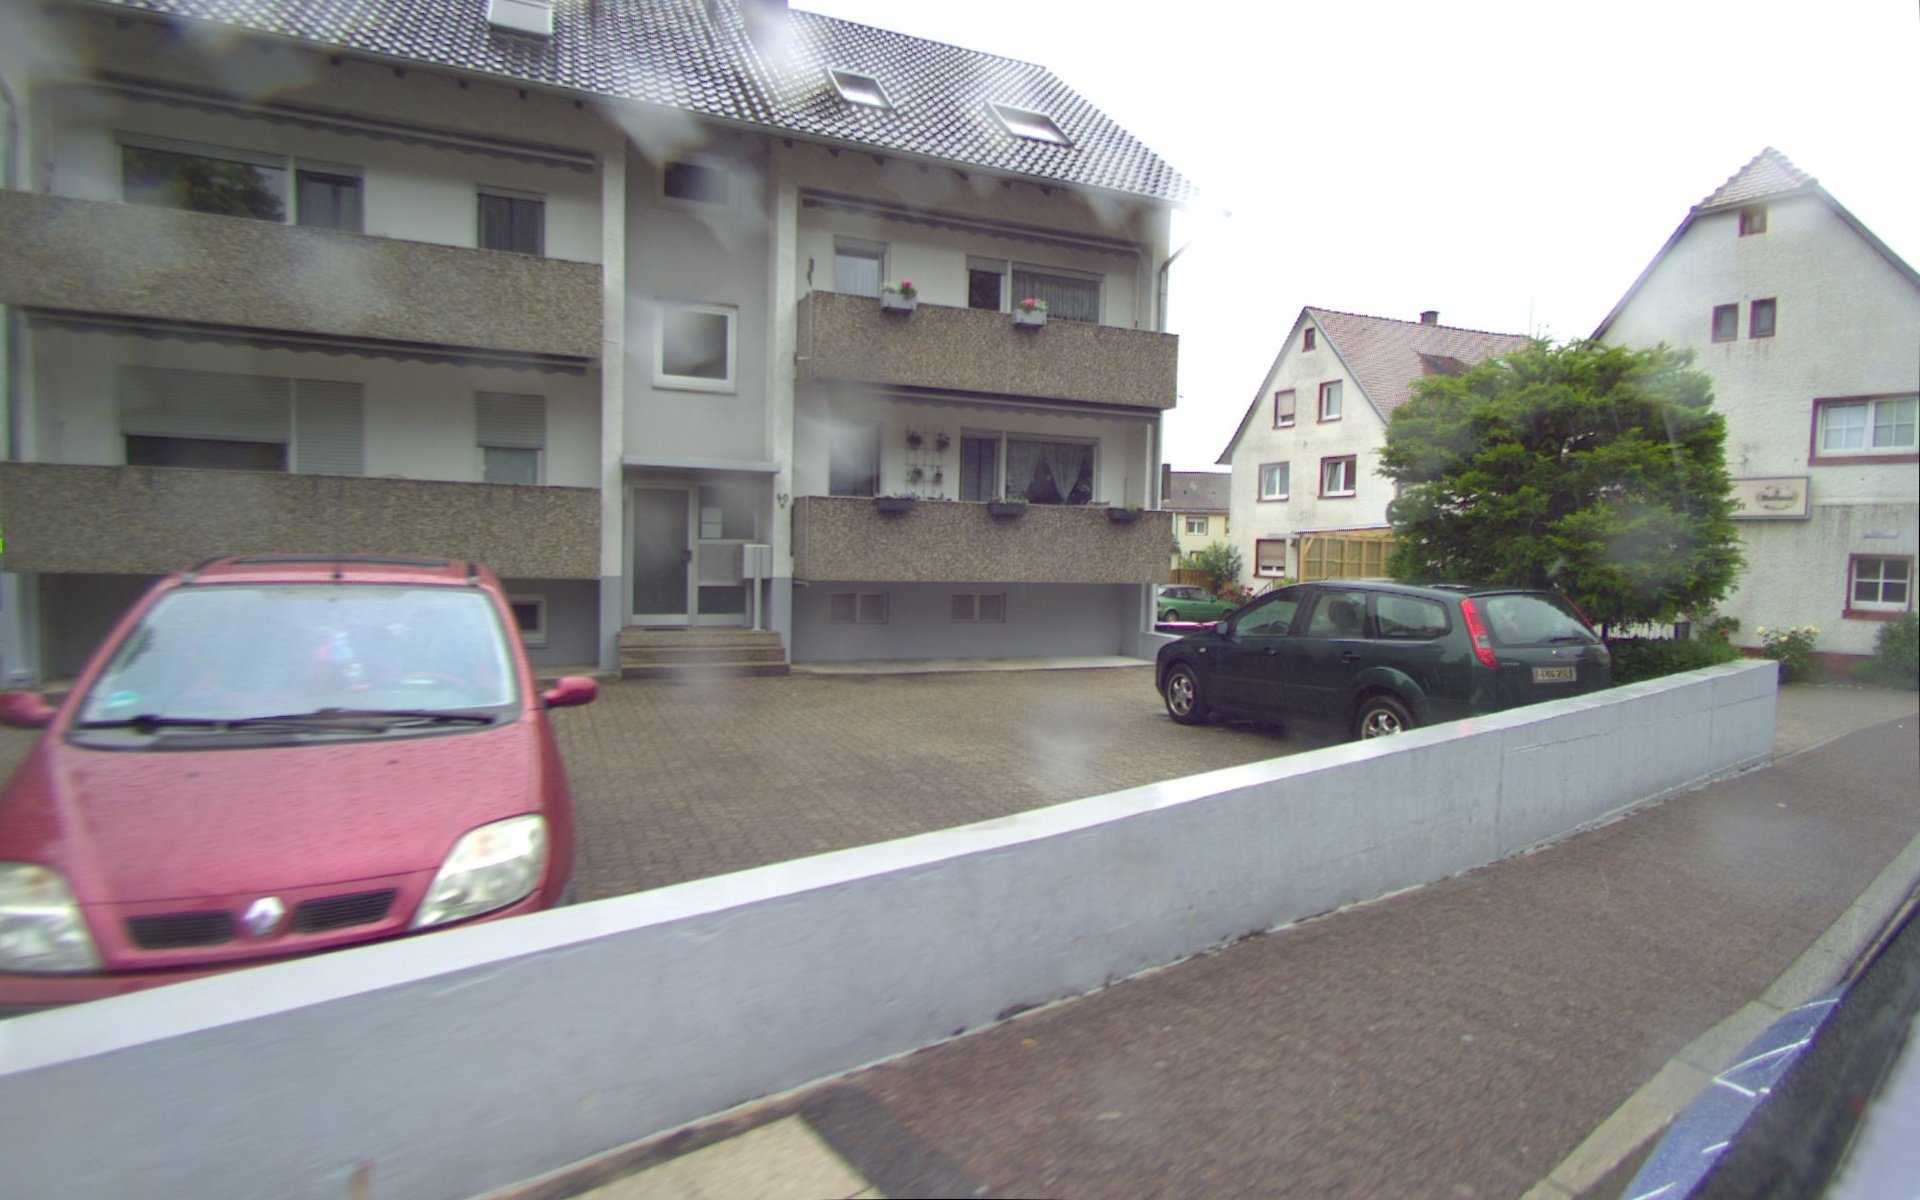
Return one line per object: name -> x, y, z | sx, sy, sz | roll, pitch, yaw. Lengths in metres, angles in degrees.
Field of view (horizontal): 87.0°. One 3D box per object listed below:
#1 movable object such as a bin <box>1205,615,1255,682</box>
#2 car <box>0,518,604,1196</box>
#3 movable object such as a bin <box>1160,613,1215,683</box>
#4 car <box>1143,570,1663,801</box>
movable object such as a bin -> 4.545, 0.808, 17.056 | 0.558, 1.080, 0.627 | 0, 1, -14
car -> -2.755, 0.525, 4.415 | 1.819, 1.609, 4.090 | 1, 2, -26
movable object such as a bin -> 3.818, 0.797, 17.012 | 0.676, 1.132, 0.627 | 0, 1, -18
car -> 3.587, 0.527, 9.143 | 1.660, 1.498, 4.251 | 0, 2, -24
